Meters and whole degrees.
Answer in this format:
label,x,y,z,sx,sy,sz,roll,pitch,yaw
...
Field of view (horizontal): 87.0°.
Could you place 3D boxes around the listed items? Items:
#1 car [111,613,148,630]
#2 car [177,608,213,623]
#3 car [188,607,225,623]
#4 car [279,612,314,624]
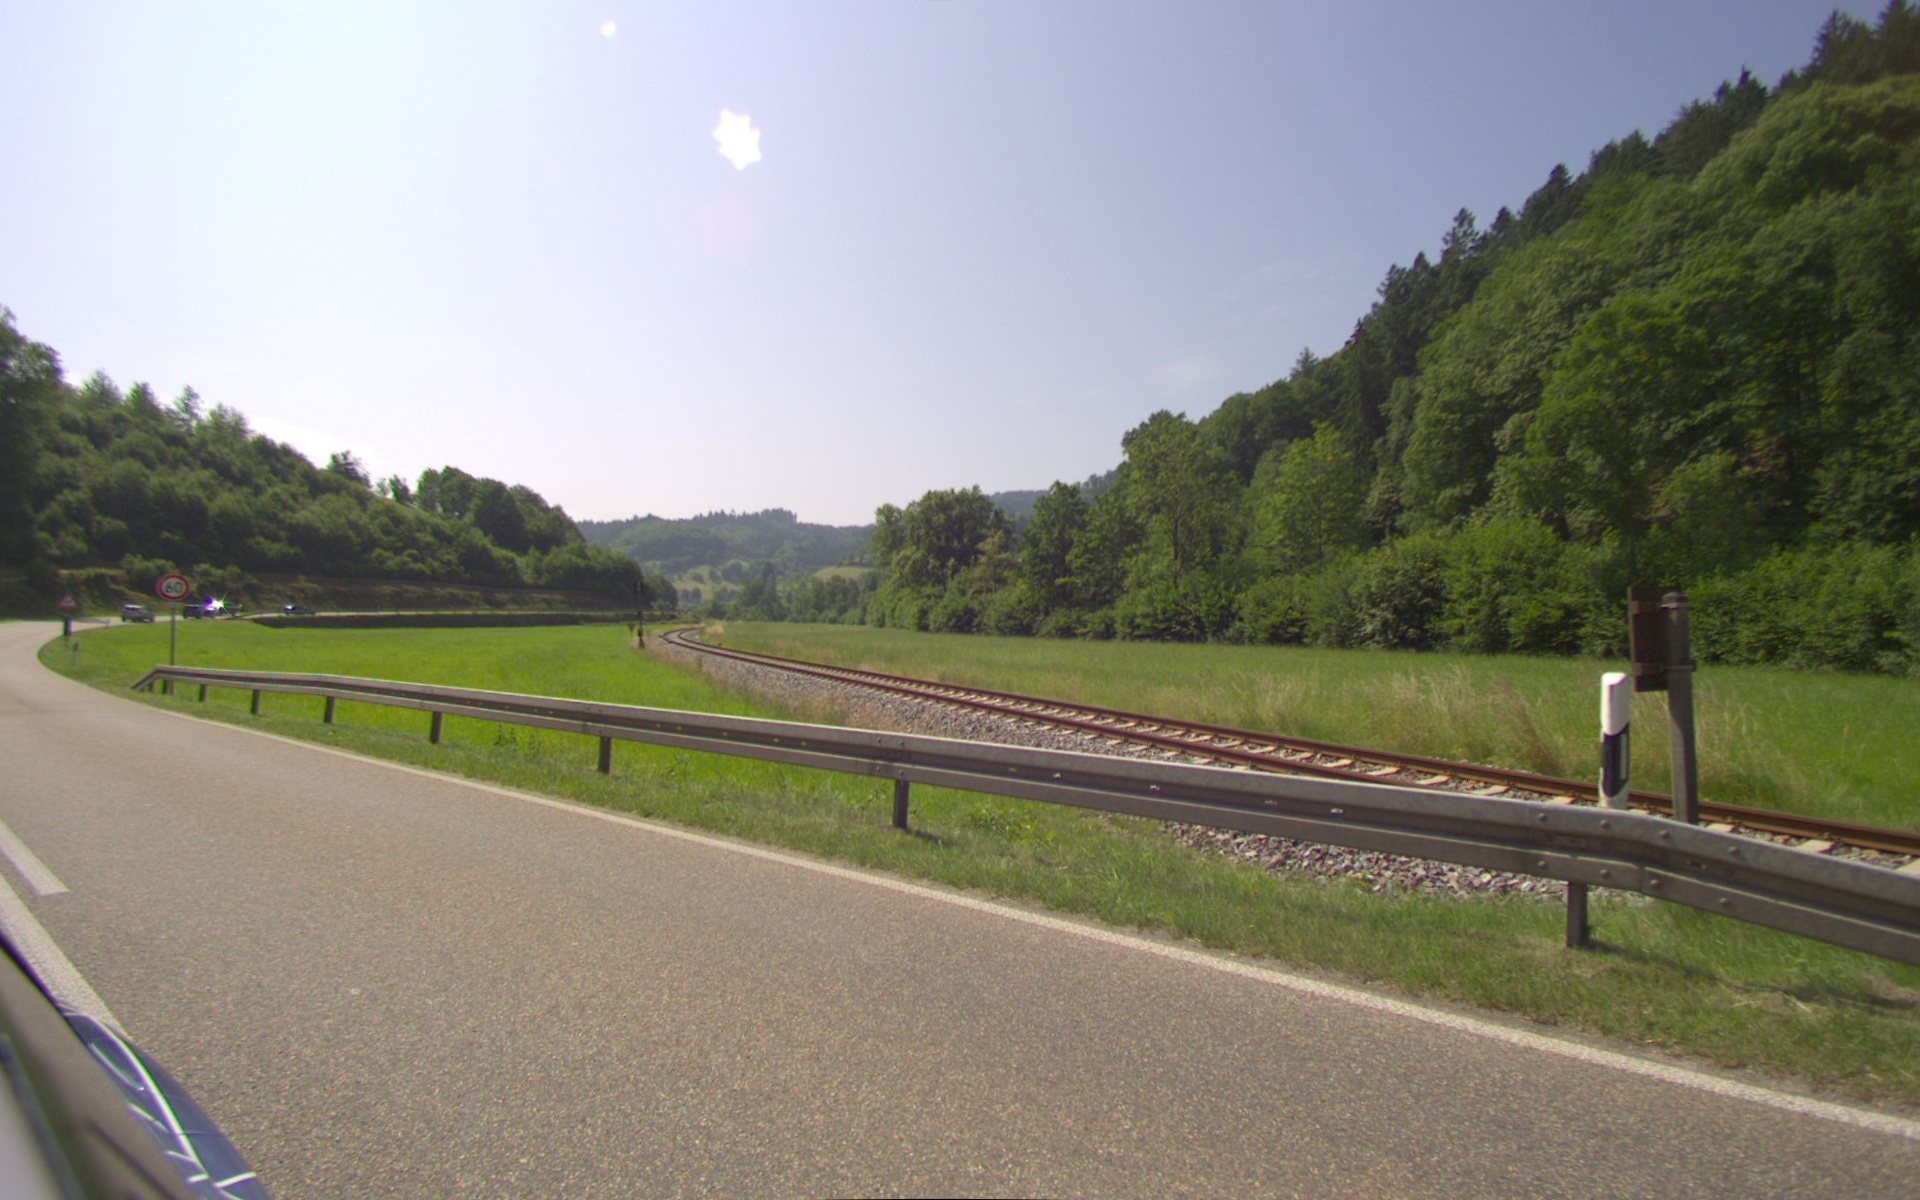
label,x,y,z,sx,sy,sz,roll,pitch,yaw
car,-86.714,2.286,105.726,1.888,1.727,4.173,2,-2,-24
car,-90.387,1.880,119.630,1.840,1.636,4.523,-1,-2,-15
car,-95.715,1.916,128.572,1.969,2.029,4.005,1,-2,-6
car,-92.408,2.487,141.056,1.896,1.482,4.510,-2,-2,0
